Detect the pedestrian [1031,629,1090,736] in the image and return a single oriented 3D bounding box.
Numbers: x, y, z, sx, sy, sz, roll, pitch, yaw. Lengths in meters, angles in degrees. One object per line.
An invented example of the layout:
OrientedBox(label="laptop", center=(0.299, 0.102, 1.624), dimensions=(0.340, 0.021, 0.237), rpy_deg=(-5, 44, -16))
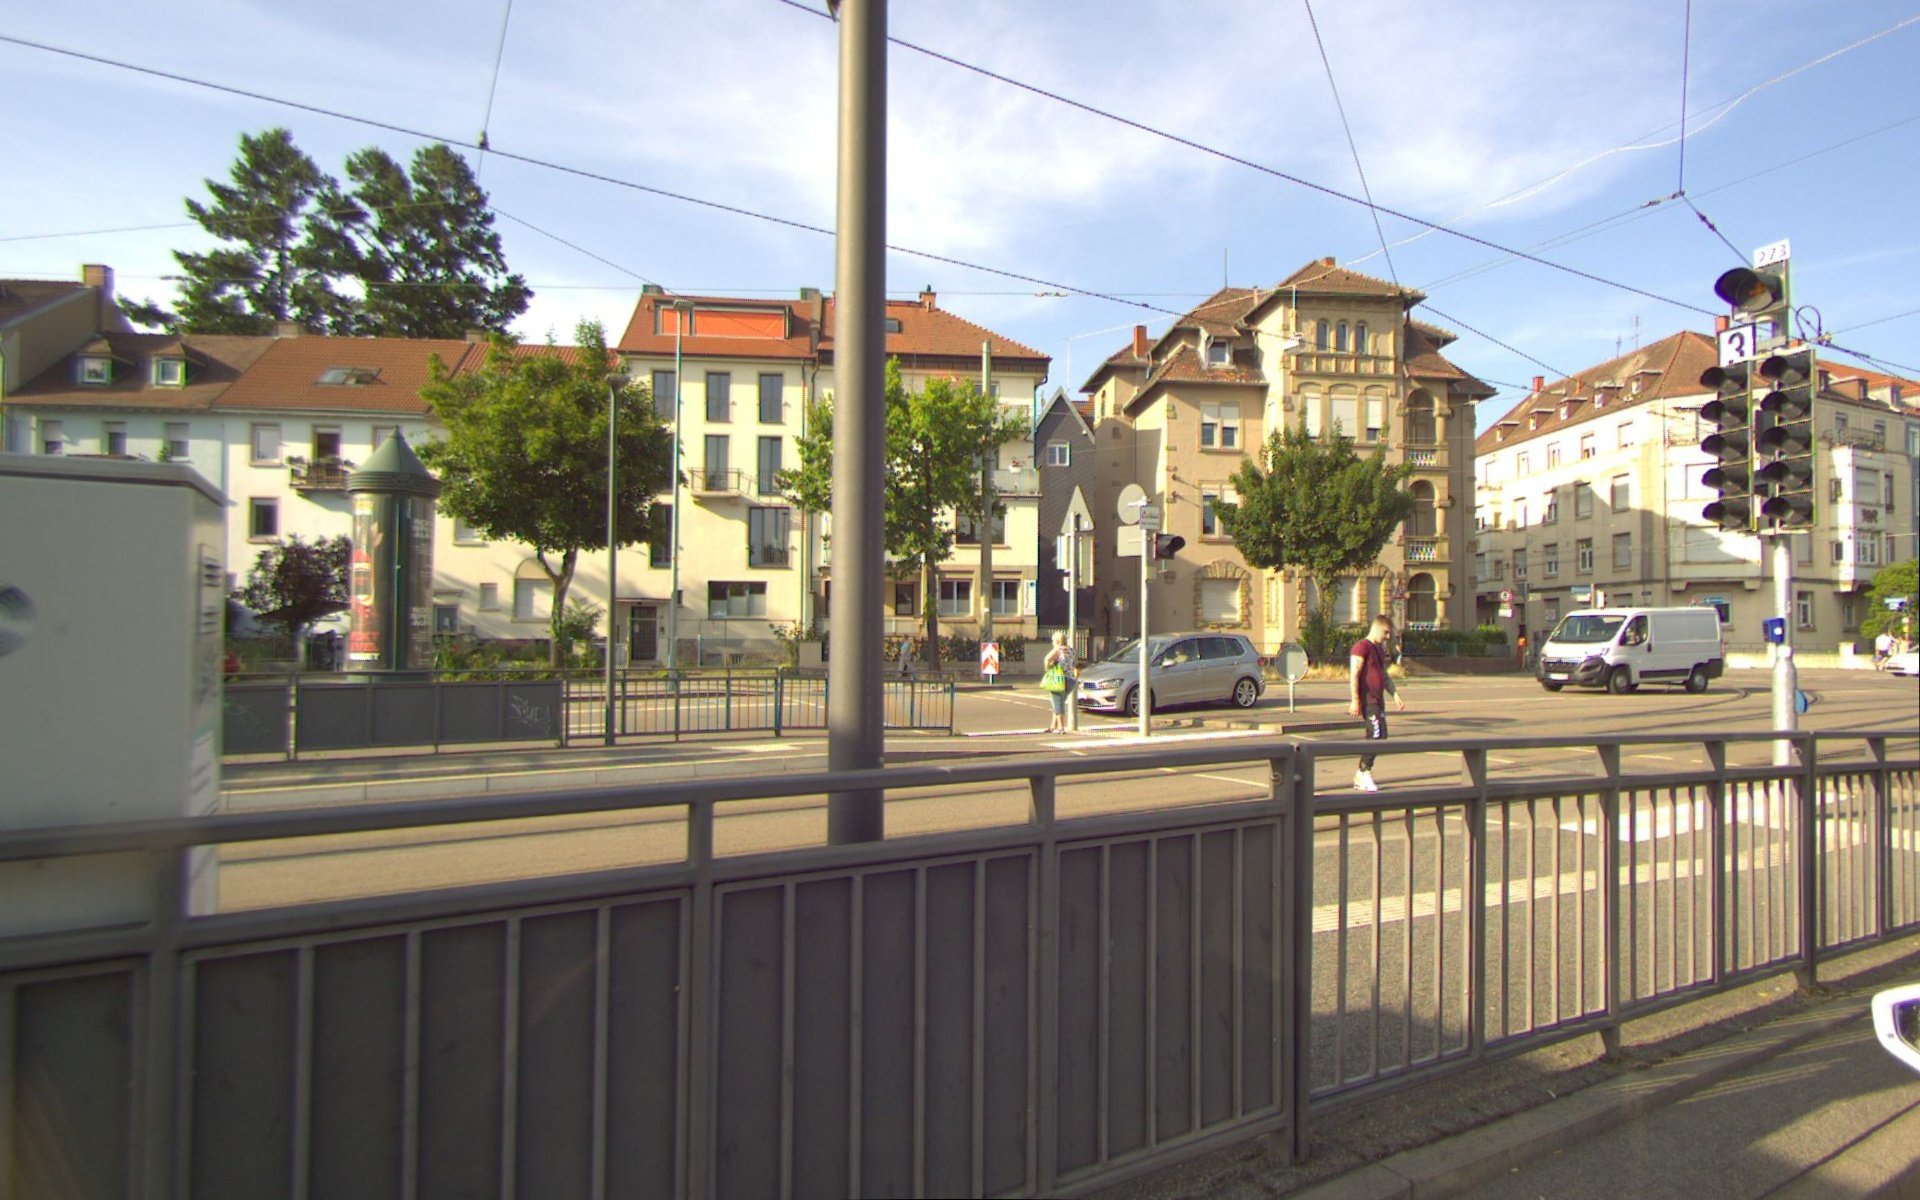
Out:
OrientedBox(label="pedestrian", center=(1.567, 1.270, 15.666), dimensions=(0.708, 1.610, 0.586), rpy_deg=(1, -2, -34))

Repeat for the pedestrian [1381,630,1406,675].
OrientedBox(label="pedestrian", center=(16.084, 1.939, 37.299), dimensions=(0.592, 1.673, 0.681), rpy_deg=(1, -2, -3))

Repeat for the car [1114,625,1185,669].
OrientedBox(label="car", center=(7.437, 1.834, 39.827), dimensions=(1.742, 1.653, 3.998), rpy_deg=(0, -2, -5))

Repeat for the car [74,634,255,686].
OrientedBox(label="car", center=(-22.750, 1.711, 28.835), dimensions=(3.793, 1.445, 1.548), rpy_deg=(0, -2, -7))

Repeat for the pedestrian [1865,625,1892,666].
OrientedBox(label="pedestrian", center=(42.310, 2.095, 46.277), dimensions=(0.617, 1.905, 0.658), rpy_deg=(1, -2, -21))

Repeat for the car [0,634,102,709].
OrientedBox(label="car", center=(-19.551, 1.409, 20.106), dimensions=(1.740, 1.447, 3.995), rpy_deg=(1, -2, -9))

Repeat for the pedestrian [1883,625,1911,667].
OrientedBox(label="pedestrian", center=(42.558, 2.093, 45.620), dimensions=(0.640, 1.872, 0.673), rpy_deg=(1, -2, -23))

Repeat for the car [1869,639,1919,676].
OrientedBox(label="car", center=(40.165, 2.345, 41.165), dimensions=(3.919, 1.476, 1.801), rpy_deg=(-1, -2, 10))

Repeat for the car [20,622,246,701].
OrientedBox(label="car", center=(-16.677, 1.213, 20.551), dimensions=(1.740, 1.447, 3.995), rpy_deg=(1, -2, -9))

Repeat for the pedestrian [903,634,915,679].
OrientedBox(label="pedestrian", center=(-1.752, 1.934, 34.462), dimensions=(0.382, 1.535, 0.405), rpy_deg=(0, -2, -4))

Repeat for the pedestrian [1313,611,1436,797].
OrientedBox(label="pedestrian", center=(3.992, 0.967, 9.714), dimensions=(0.663, 1.692, 0.877), rpy_deg=(1, -2, -28))

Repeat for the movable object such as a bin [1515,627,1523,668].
OrientedBox(label="movable object such as a bin", center=(24.312, 2.067, 43.665), dimensions=(0.259, 1.732, 2.379), rpy_deg=(-1, -2, 28))

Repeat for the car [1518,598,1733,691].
OrientedBox(label="car", center=(17.661, 1.155, 26.662), dimensions=(5.175, 2.268, 2.174), rpy_deg=(1, -2, -21))

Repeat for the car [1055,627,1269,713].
OrientedBox(label="car", center=(4.118, 1.360, 20.390), dimensions=(4.068, 1.546, 1.672), rpy_deg=(0, -2, -25))

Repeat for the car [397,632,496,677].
OrientedBox(label="car", center=(-18.752, 1.974, 36.902), dimensions=(1.821, 1.578, 3.998), rpy_deg=(0, -2, -4))
